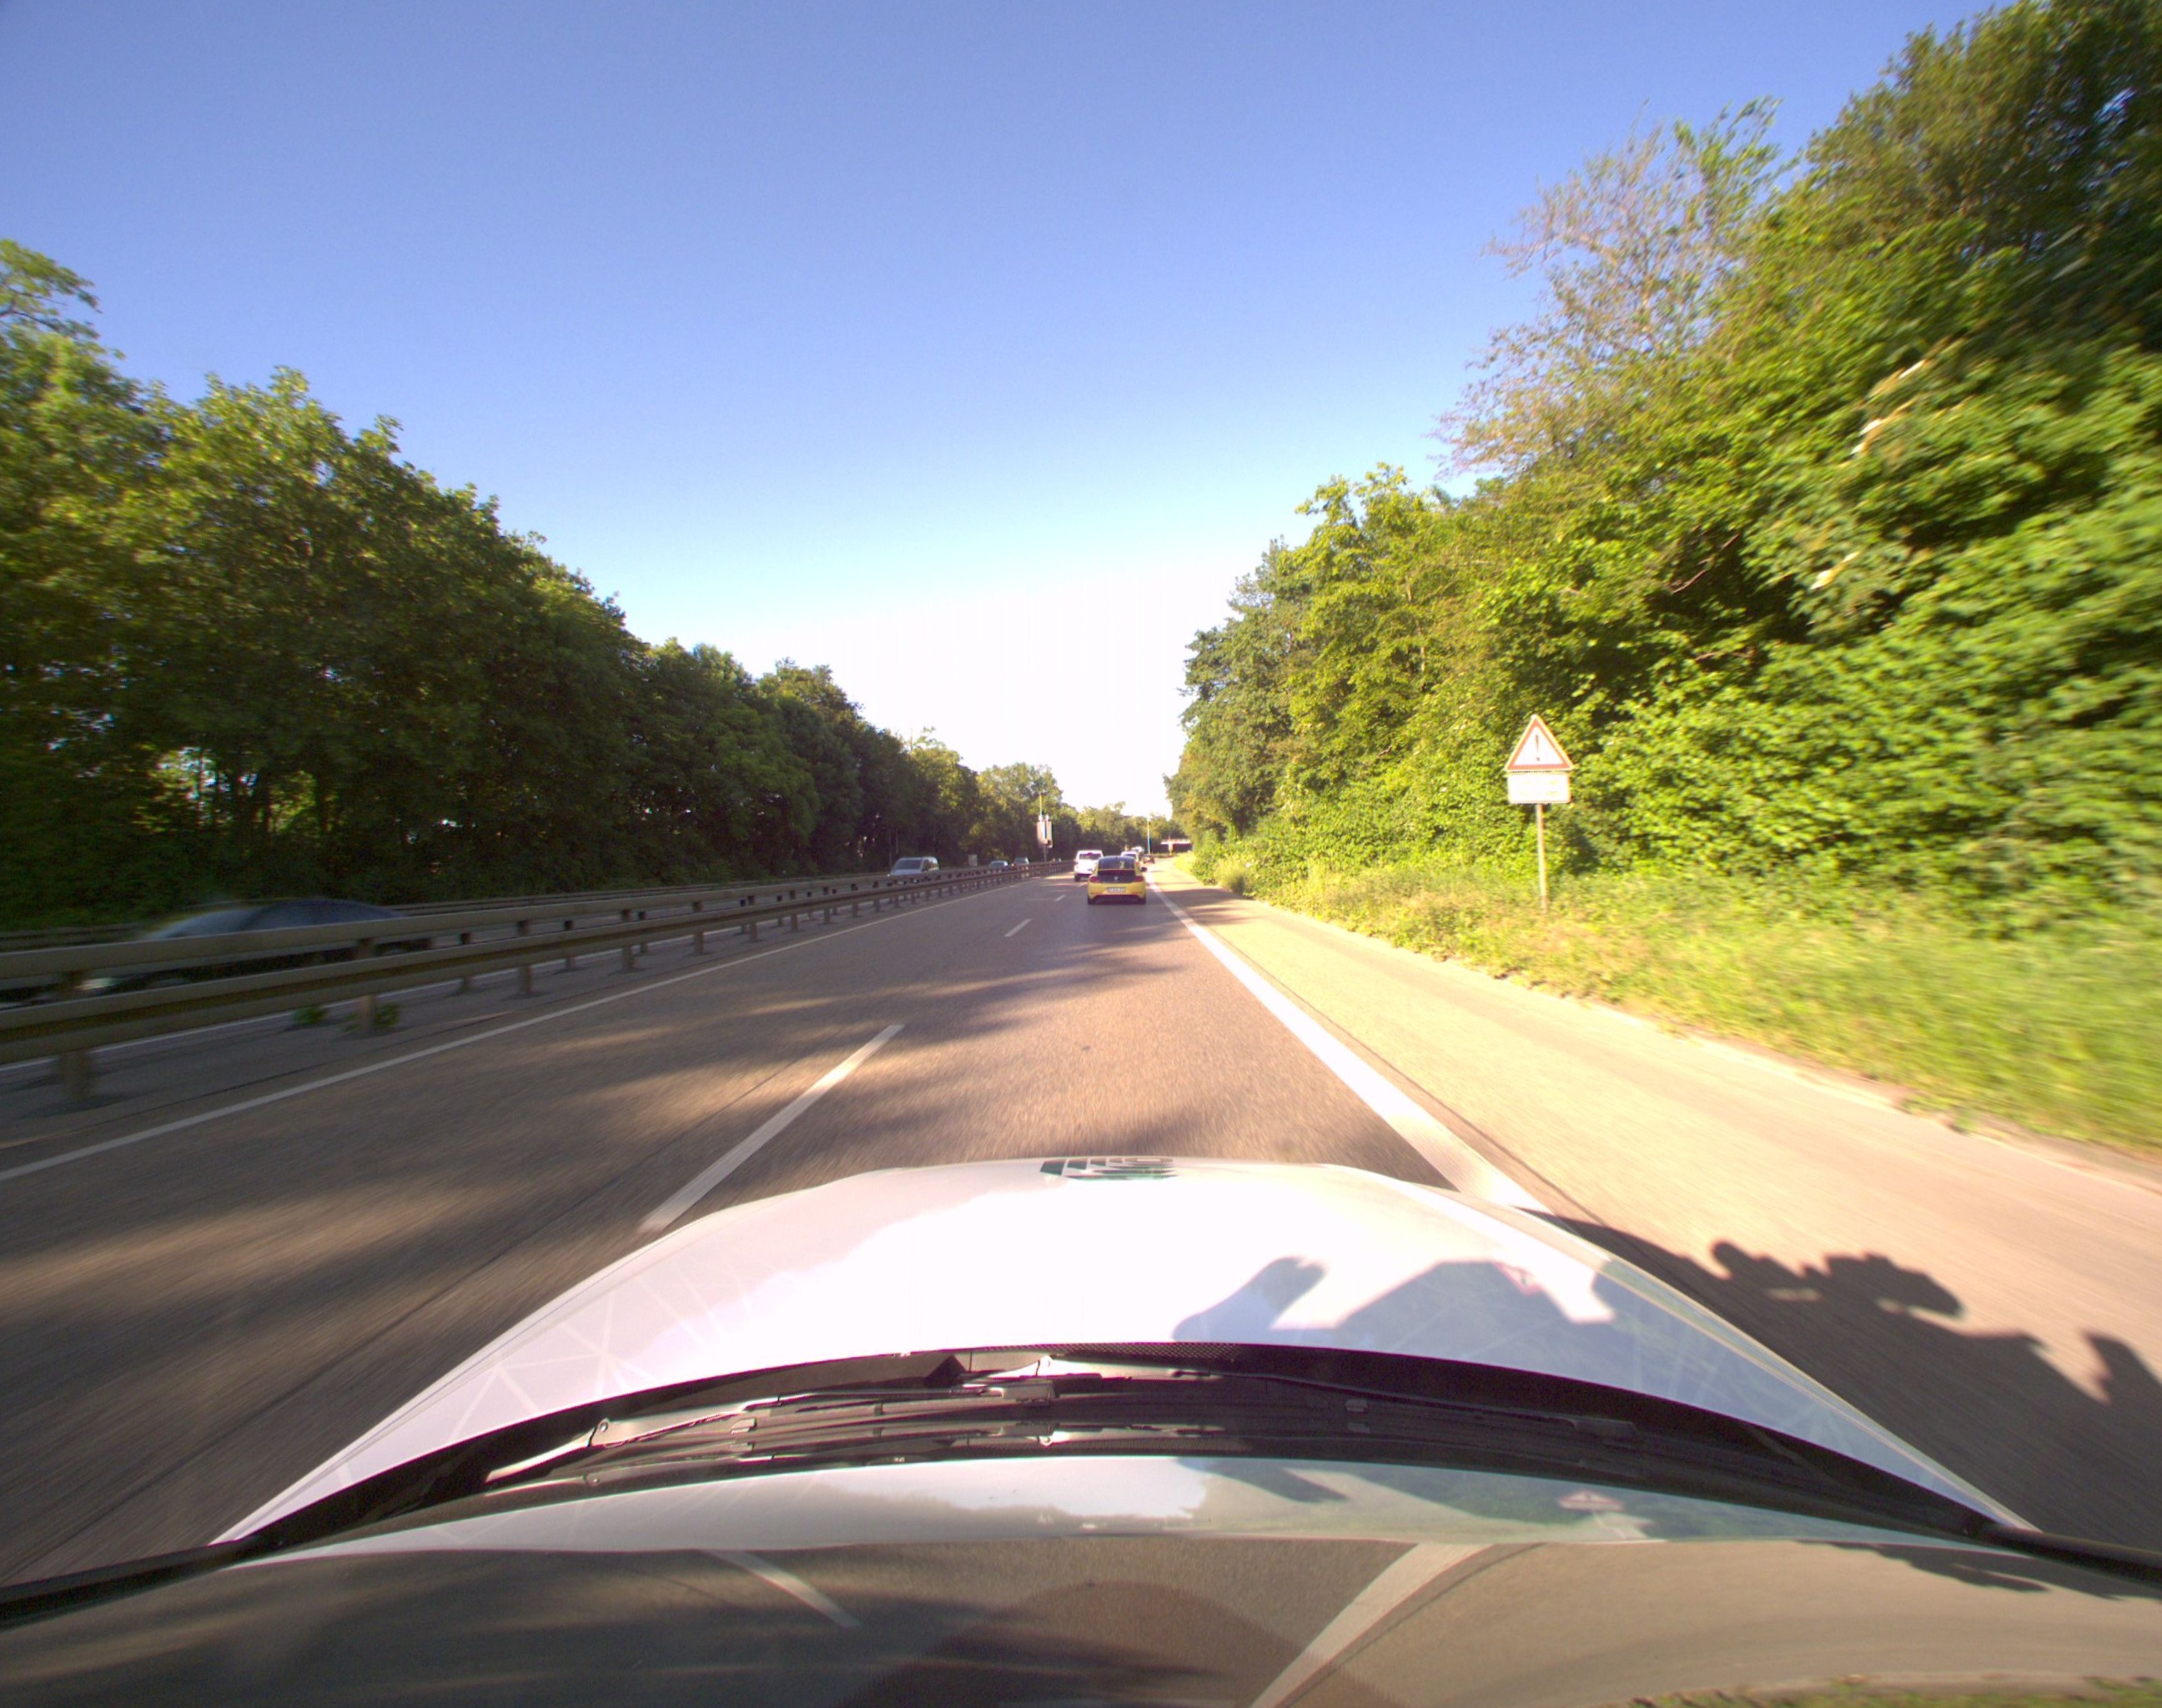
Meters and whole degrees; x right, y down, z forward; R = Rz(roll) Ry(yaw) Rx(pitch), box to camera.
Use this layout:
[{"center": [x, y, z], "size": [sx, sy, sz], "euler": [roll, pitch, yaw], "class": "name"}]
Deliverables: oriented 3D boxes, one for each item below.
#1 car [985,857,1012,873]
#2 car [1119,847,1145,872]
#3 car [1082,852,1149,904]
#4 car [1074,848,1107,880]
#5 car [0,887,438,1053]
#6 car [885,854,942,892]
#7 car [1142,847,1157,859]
[{"center": [-7.533, 0.978, 74.610], "size": [1.590, 1.314, 3.915], "euler": [-4, 0, 5], "class": "car"}, {"center": [4.447, 0.472, 71.279], "size": [1.986, 2.013, 4.002], "euler": [-4, 0, 2], "class": "car"}, {"center": [1.064, 0.694, 25.717], "size": [1.932, 1.508, 3.423], "euler": [-1, 0, 1], "class": "car"}, {"center": [0.586, 0.552, 47.295], "size": [1.734, 1.830, 3.426], "euler": [0, 0, 3], "class": "car"}, {"center": [-10.986, 1.310, 10.584], "size": [1.591, 1.453, 4.348], "euler": [-4, 0, 2], "class": "car"}, {"center": [-9.469, 1.016, 46.474], "size": [1.880, 1.903, 5.417], "euler": [-4, 0, 2], "class": "car"}, {"center": [11.168, -0.182, 131.729], "size": [2.252, 1.875, 5.083], "euler": [-4, 0, 5], "class": "car"}]
